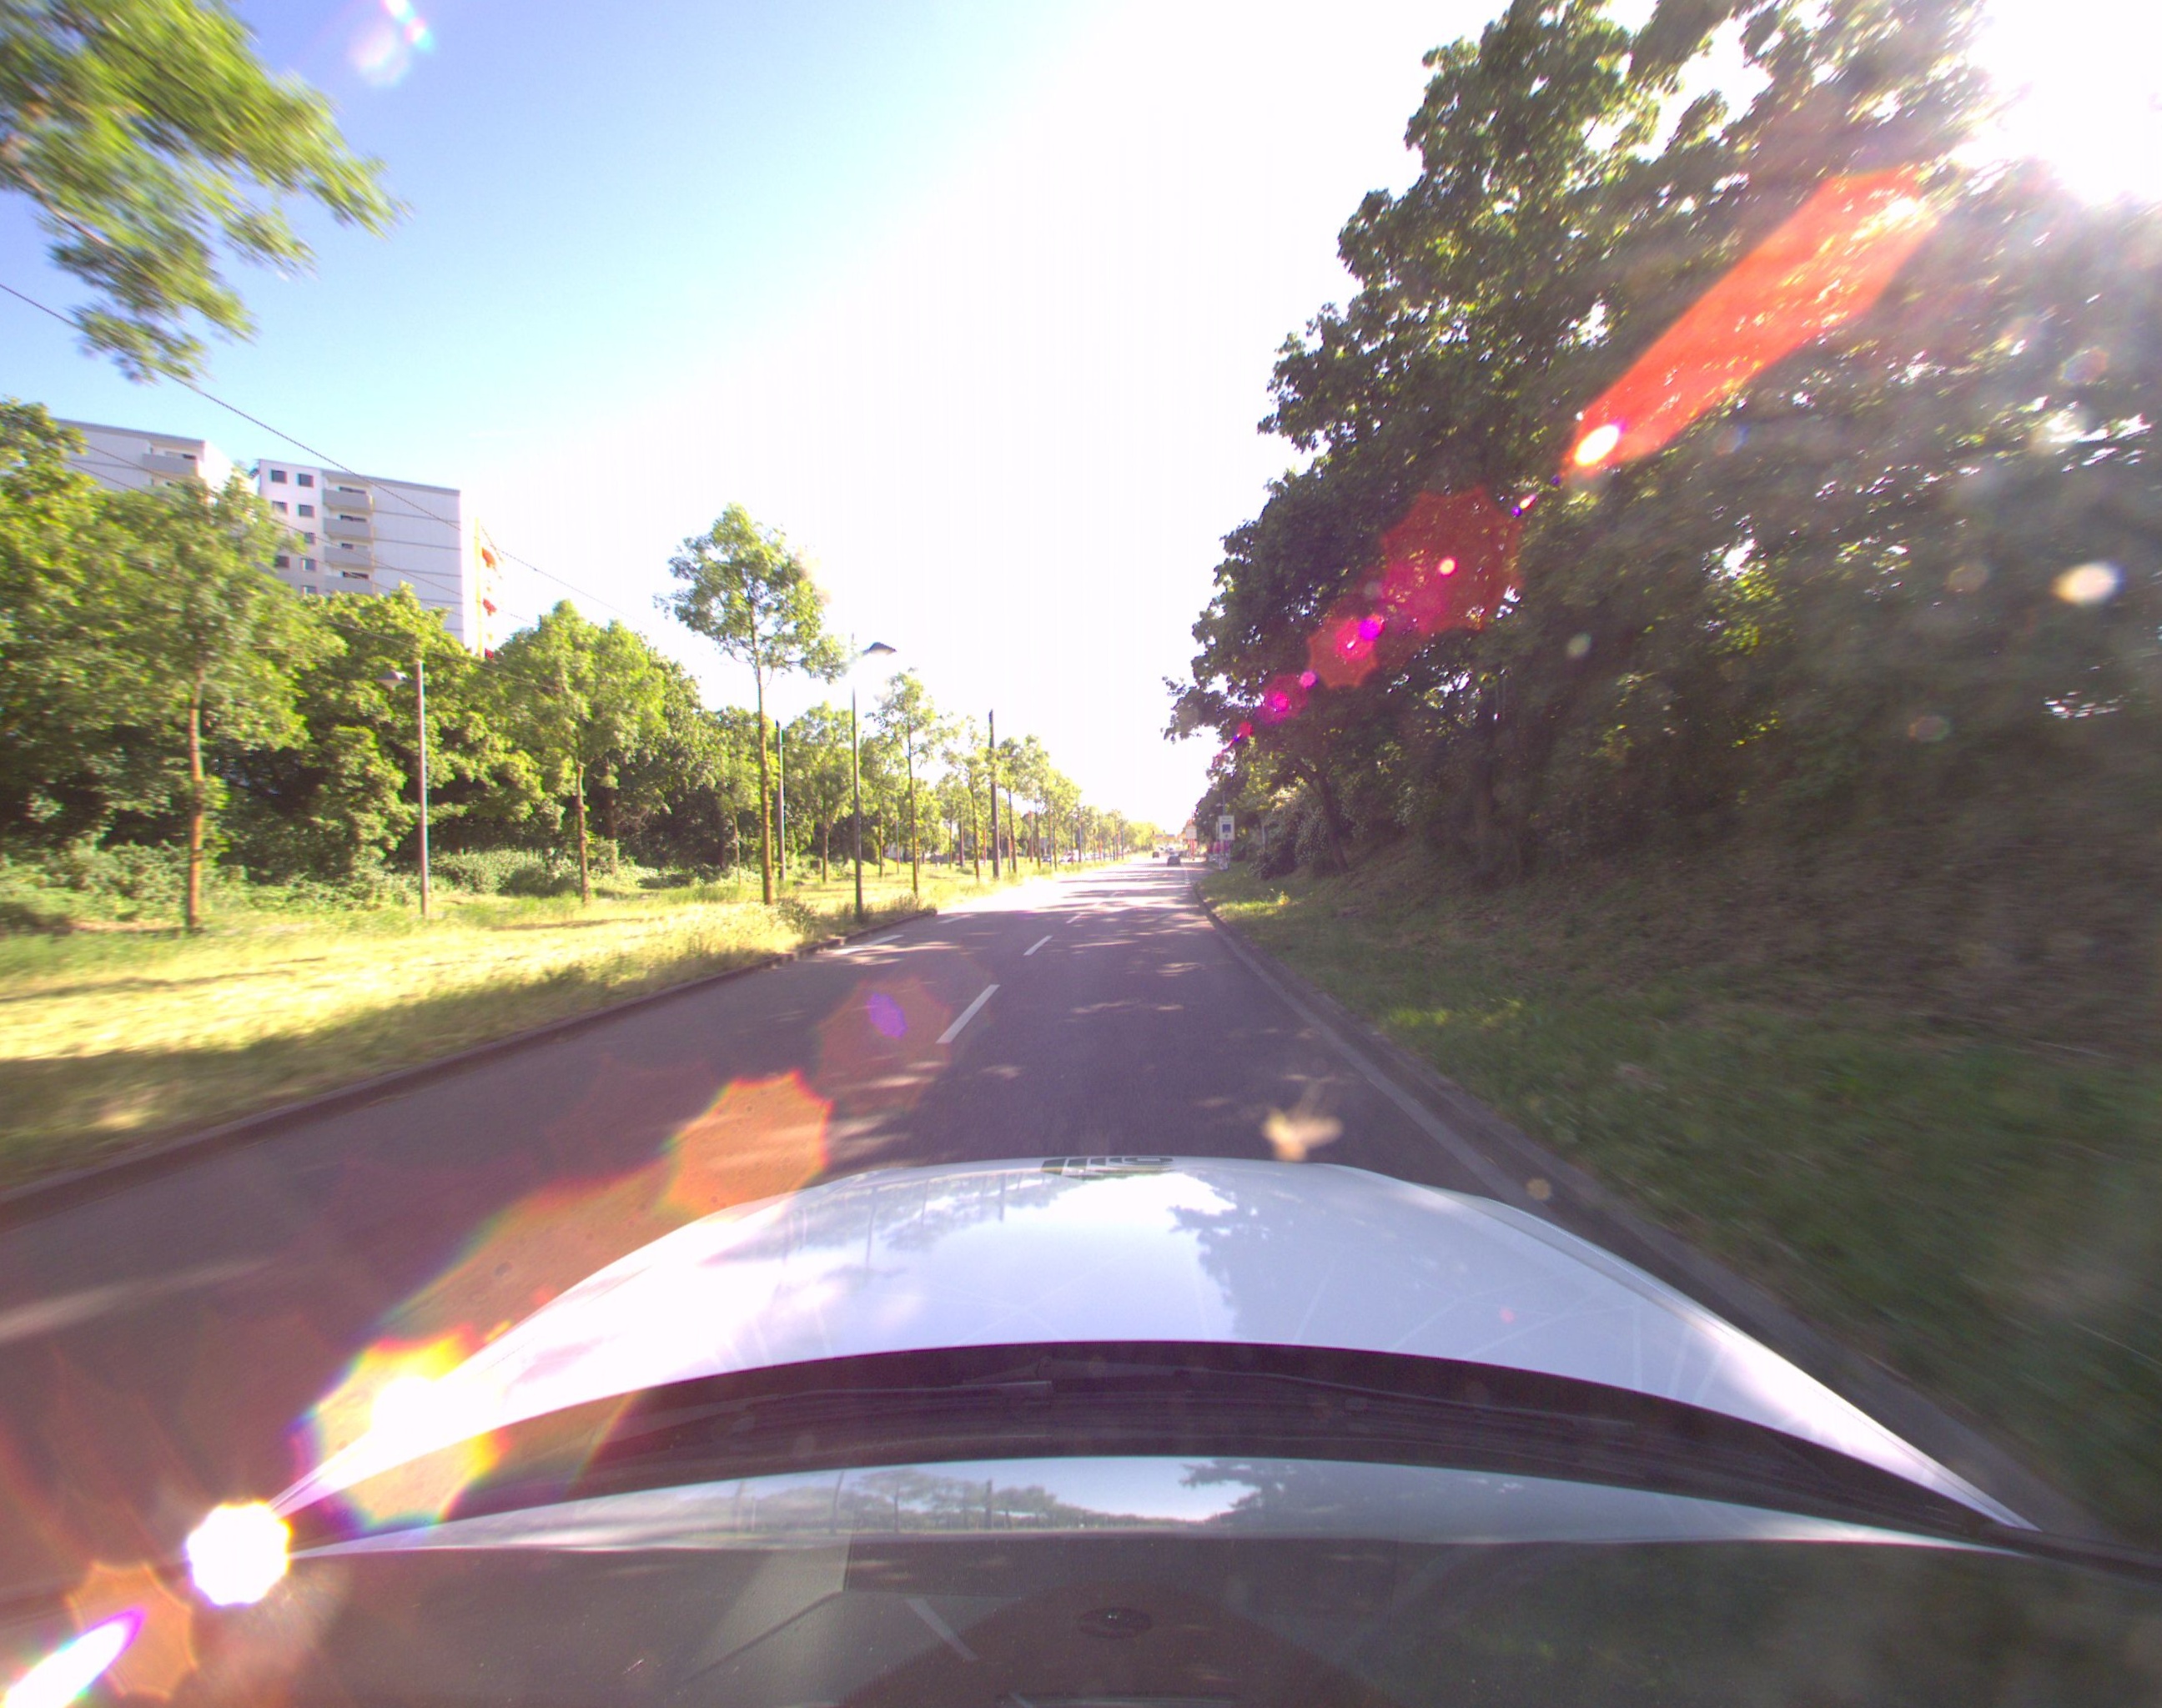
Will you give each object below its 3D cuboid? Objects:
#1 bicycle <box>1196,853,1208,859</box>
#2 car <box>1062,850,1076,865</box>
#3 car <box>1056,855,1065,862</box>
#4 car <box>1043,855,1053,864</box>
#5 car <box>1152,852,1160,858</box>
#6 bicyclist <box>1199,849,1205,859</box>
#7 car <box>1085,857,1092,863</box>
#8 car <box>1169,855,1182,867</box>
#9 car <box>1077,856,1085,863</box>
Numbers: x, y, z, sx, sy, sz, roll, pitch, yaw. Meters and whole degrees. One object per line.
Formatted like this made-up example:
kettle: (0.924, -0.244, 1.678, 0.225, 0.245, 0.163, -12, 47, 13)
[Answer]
bicycle: (23.337, 0.404, 157.192, 2.402, 1.109, 0.814, -1, 0, 6)
car: (-2.703, 0.773, 181.359, 2.454, 3.240, 6.142, -1, -1, 5)
car: (-4.893, 1.009, 193.062, 1.623, 1.680, 4.198, -1, 0, 5)
car: (-6.868, 1.102, 170.280, 1.623, 1.680, 4.198, -1, 0, 5)
car: (18.480, 0.257, 200.540, 1.625, 1.498, 4.243, -1, 0, 7)
bicyclist: (23.395, -0.042, 157.187, 1.003, 2.007, 0.814, -1, 0, 6)
car: (1.917, 1.427, 209.190, 1.623, 1.445, 4.198, -1, 0, 5)
car: (12.496, 0.856, 108.014, 1.625, 1.498, 4.243, -1, 0, 7)
car: (0.023, 1.395, 201.160, 1.623, 1.680, 4.198, -1, 0, 5)
